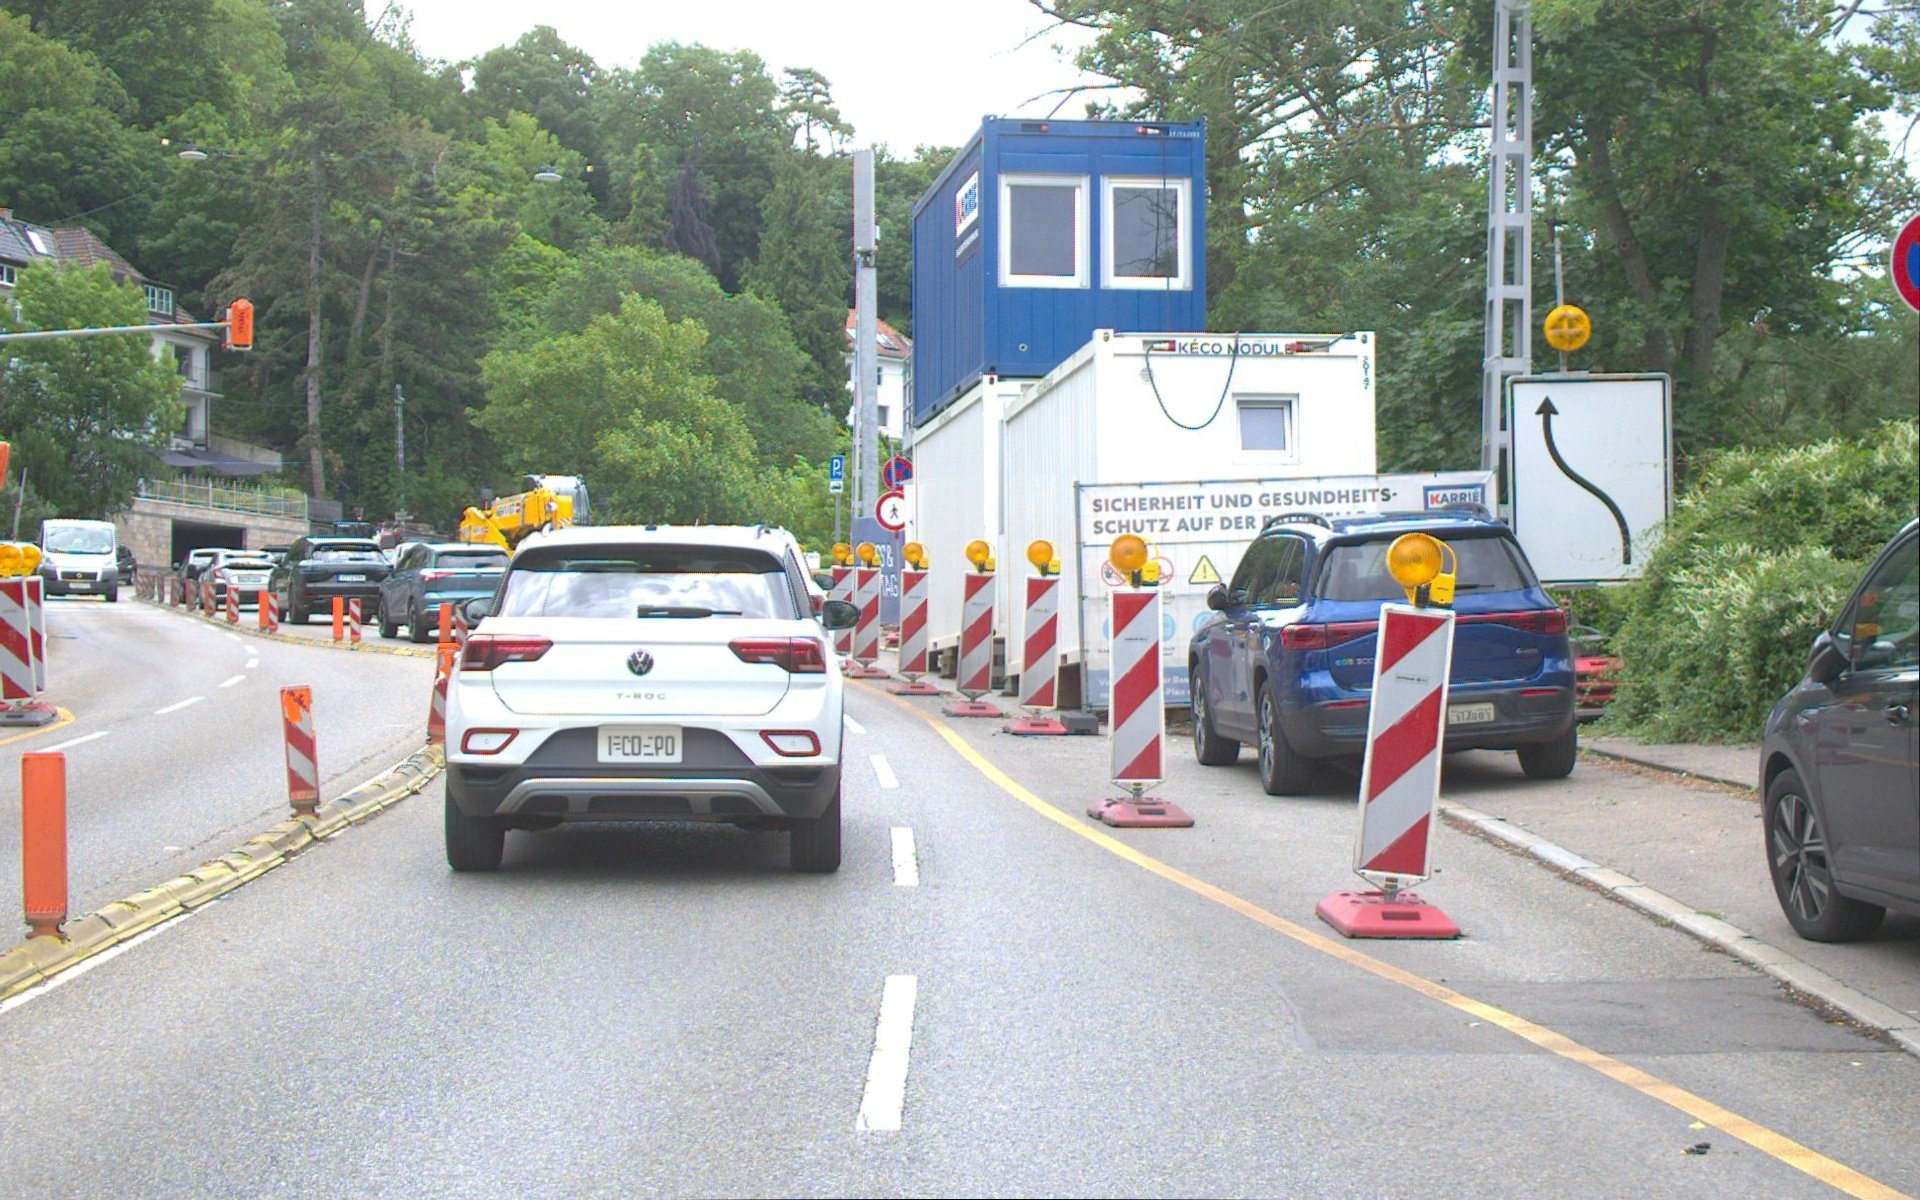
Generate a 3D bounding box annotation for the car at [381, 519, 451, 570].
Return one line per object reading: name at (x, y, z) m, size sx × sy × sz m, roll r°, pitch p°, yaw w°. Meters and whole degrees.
car at (-16.398, -1.664, 103.564) m, size 1.794 × 1.505 × 4.001 m, roll 0°, pitch 0°, yaw -13°

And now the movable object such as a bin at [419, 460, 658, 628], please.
movable object such as a bin at (-8.466, -1.108, 68.124) m, size 2.810 × 3.060 × 7.825 m, roll 1°, pitch 1°, yaw -21°

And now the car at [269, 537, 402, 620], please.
car at (-11.928, -0.423, 65.520) m, size 1.794 × 1.505 × 4.001 m, roll -1°, pitch 1°, yaw -20°

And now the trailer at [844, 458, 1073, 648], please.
trailer at (-0.096, -0.676, 49.142) m, size 2.106 × 2.541 × 5.120 m, roll -1°, pitch 1°, yaw -13°

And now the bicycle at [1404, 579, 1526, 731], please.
bicycle at (3.903, 0.406, 26.677) m, size 0.498 × 1.104 × 1.800 m, roll -2°, pitch 1°, yaw -5°

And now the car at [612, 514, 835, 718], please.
car at (-2.093, 0.098, 30.090) m, size 1.809 × 1.657 × 4.001 m, roll 0°, pitch 1°, yaw -5°

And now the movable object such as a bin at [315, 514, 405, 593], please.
movable object such as a bin at (-20.918, -1.637, 120.036) m, size 2.211 × 2.654 × 4.945 m, roll 1°, pitch 1°, yaw 0°

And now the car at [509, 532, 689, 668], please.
car at (-4.675, -0.030, 44.104) m, size 1.809 × 1.657 × 4.001 m, roll 0°, pitch 1°, yaw -13°

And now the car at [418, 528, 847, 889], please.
car at (-1.467, 0.427, 16.599) m, size 1.809 × 1.526 × 4.000 m, roll 0°, pitch 1°, yaw -2°

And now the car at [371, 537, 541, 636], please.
car at (-8.023, -0.235, 54.478) m, size 1.794 × 1.505 × 4.001 m, roll -1°, pitch 1°, yaw -21°

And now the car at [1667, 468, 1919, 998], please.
car at (3.894, 0.352, 11.180) m, size 1.862 × 1.668 × 4.647 m, roll -5°, pitch 1°, yaw -3°

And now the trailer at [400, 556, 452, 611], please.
trailer at (-14.938, -0.482, 96.018) m, size 1.288 × 1.470 × 3.635 m, roll 1°, pitch 1°, yaw -11°

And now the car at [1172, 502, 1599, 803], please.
car at (2.561, 0.265, 21.770) m, size 1.839 × 1.637 × 4.503 m, roll -2°, pitch 1°, yaw -3°

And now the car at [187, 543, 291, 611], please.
car at (-16.905, -0.553, 80.497) m, size 1.794 × 1.505 × 4.001 m, roll -1°, pitch 1°, yaw -20°

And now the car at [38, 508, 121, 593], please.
car at (-23.809, -1.350, 92.907) m, size 2.066 × 2.180 × 4.964 m, roll -2°, pitch 2°, yaw -14°
